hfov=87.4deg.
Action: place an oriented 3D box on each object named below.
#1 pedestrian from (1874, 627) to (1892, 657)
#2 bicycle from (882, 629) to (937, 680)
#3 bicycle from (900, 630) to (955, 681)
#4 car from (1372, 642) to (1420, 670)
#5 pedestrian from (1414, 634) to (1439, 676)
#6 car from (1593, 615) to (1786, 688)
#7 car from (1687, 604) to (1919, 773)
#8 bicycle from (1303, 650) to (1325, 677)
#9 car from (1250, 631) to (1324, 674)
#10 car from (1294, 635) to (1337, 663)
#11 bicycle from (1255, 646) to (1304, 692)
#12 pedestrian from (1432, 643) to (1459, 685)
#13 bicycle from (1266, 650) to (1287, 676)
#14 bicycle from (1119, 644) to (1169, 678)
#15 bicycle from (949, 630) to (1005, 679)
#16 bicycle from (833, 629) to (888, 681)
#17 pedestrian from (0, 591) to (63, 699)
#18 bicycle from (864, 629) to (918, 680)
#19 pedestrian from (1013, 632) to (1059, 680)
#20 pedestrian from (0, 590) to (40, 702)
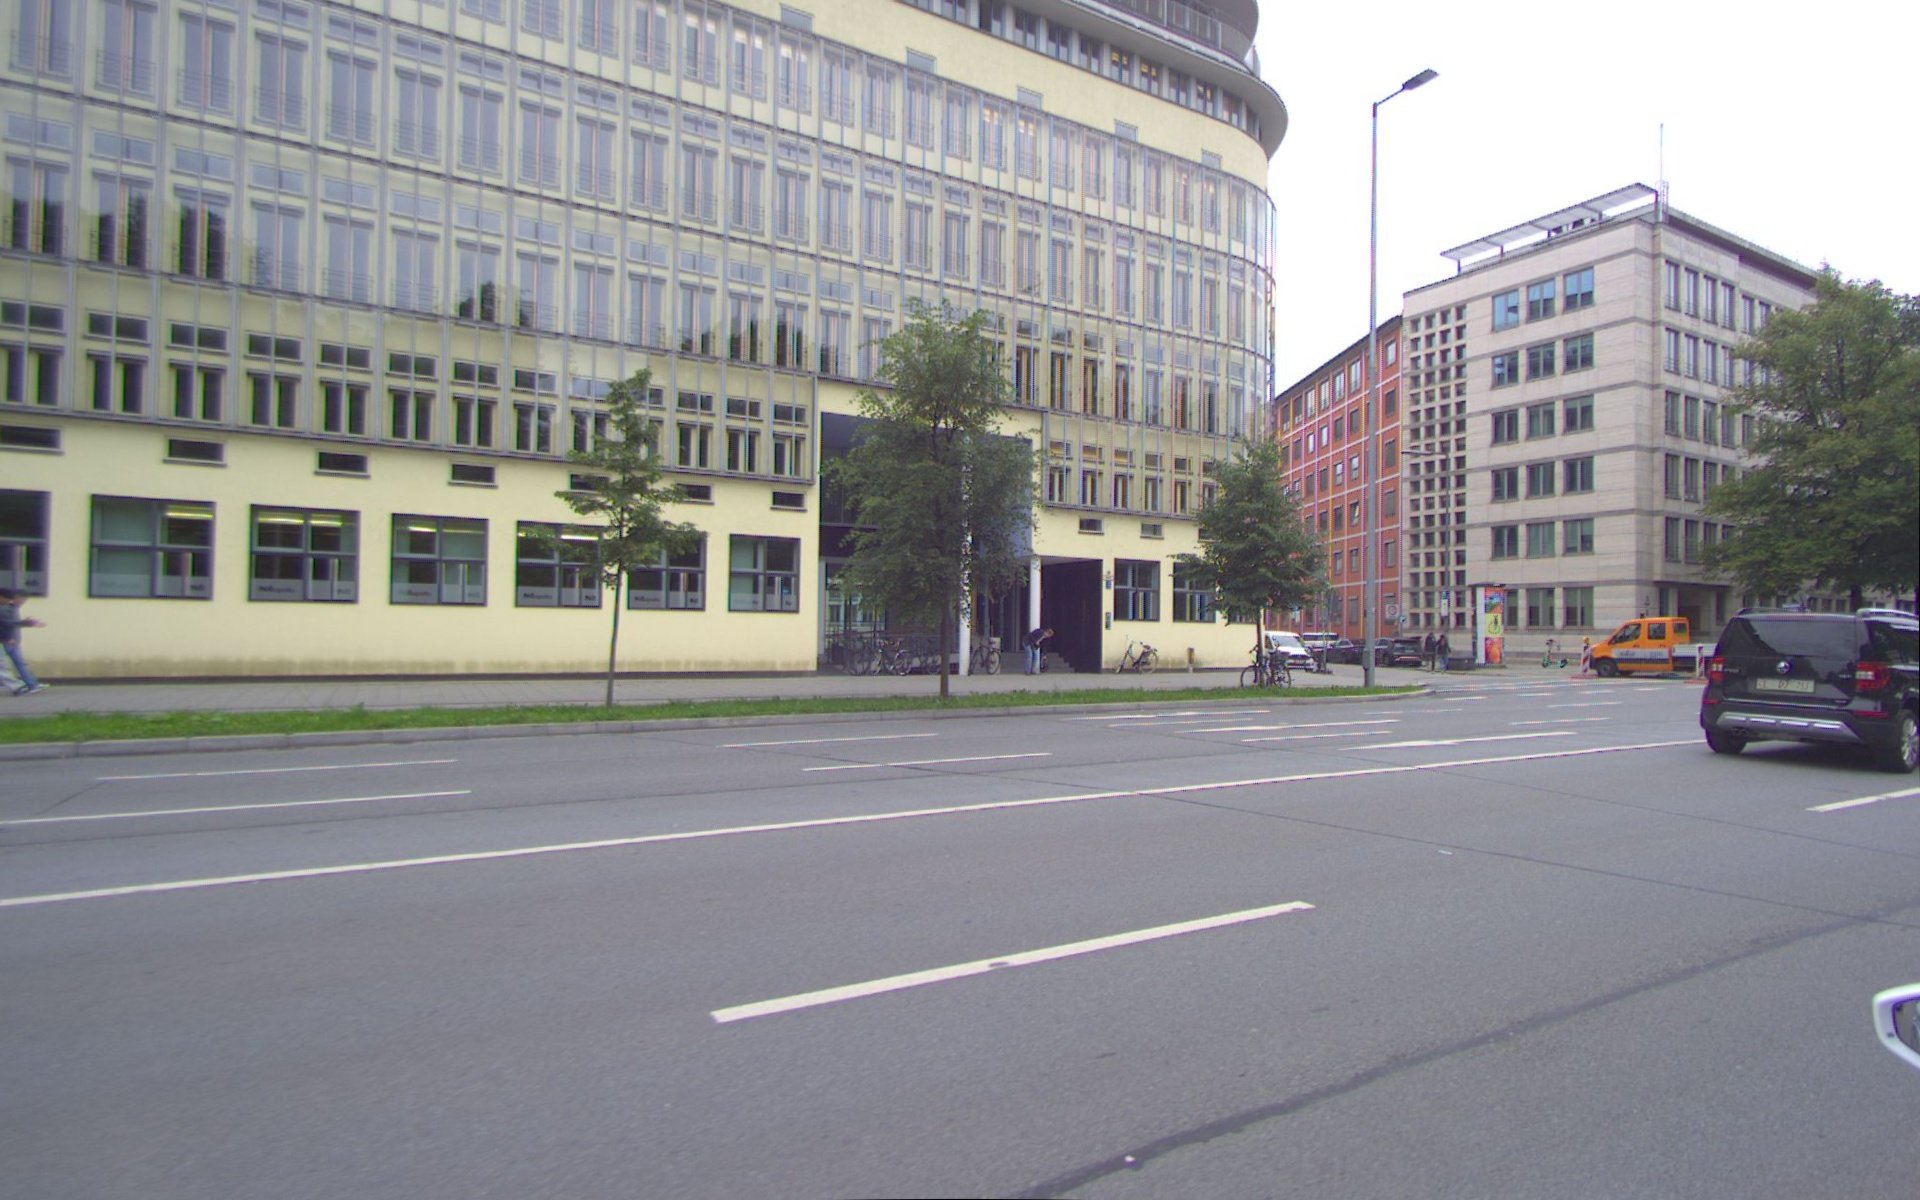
[{"bbox_3d":[55.597,2.535,60.497,0.755,1.755,0.576,2,0,-29],"label":"pedestrian"},{"bbox_3d":[-1.468,1.537,28.677,0.569,1.336,1.995,2,0,-34],"label":"bicycle"},{"bbox_3d":[-0.953,1.580,29.010,0.569,1.336,1.995,2,0,-34],"label":"bicycle"},{"bbox_3d":[22.851,2.909,52.736,1.441,1.393,3.241,1,-2,6],"label":"car"},{"bbox_3d":[20.474,2.400,44.066,0.665,1.798,0.680,2,0,-26],"label":"pedestrian"},{"bbox_3d":[27.793,1.901,38.500,2.134,2.570,5.647,2,-2,-33],"label":"car"},{"bbox_3d":[10.449,0.959,11.697,4.156,1.658,1.714,2,-2,-31],"label":"car"},{"bbox_3d":[14.291,2.562,40.565,0.574,1.034,1.847,1,-2,12],"label":"bicycle"},{"bbox_3d":[14.639,2.320,45.197,1.833,1.773,4.329,1,-2,-1],"label":"car"},{"bbox_3d":[22.238,3.059,62.939,1.460,1.686,3.183,1,-2,-2],"label":"car"},{"bbox_3d":[7.368,1.572,23.149,1.370,1.026,0.279,2,0,-34],"label":"bicycle"},{"bbox_3d":[21.067,2.770,43.582,0.773,1.798,0.680,2,0,-26],"label":"pedestrian"},{"bbox_3d":[11.424,2.265,36.279,0.574,0.889,1.738,0,-2,12],"label":"bicycle"},{"bbox_3d":[5.802,1.923,31.585,1.577,1.026,0.569,2,0,-34],"label":"bicycle"},{"bbox_3d":[0.486,1.587,29.750,0.569,1.336,1.995,2,0,-34],"label":"bicycle"},{"bbox_3d":[-2.800,1.524,28.055,0.632,1.336,1.995,2,0,-34],"label":"bicycle"},{"bbox_3d":[-15.998,0.762,17.180,0.826,1.800,0.612,2,0,-30],"label":"pedestrian"},{"bbox_3d":[-1.966,1.515,28.325,0.569,1.336,1.995,2,0,-34],"label":"bicycle"},{"bbox_3d":[2.263,1.647,29.880,1.073,1.382,0.833,1,-2,-30],"label":"pedestrian"},{"bbox_3d":[-15.768,0.746,16.487,0.826,1.800,0.612,2,0,-30],"label":"pedestrian"}]
